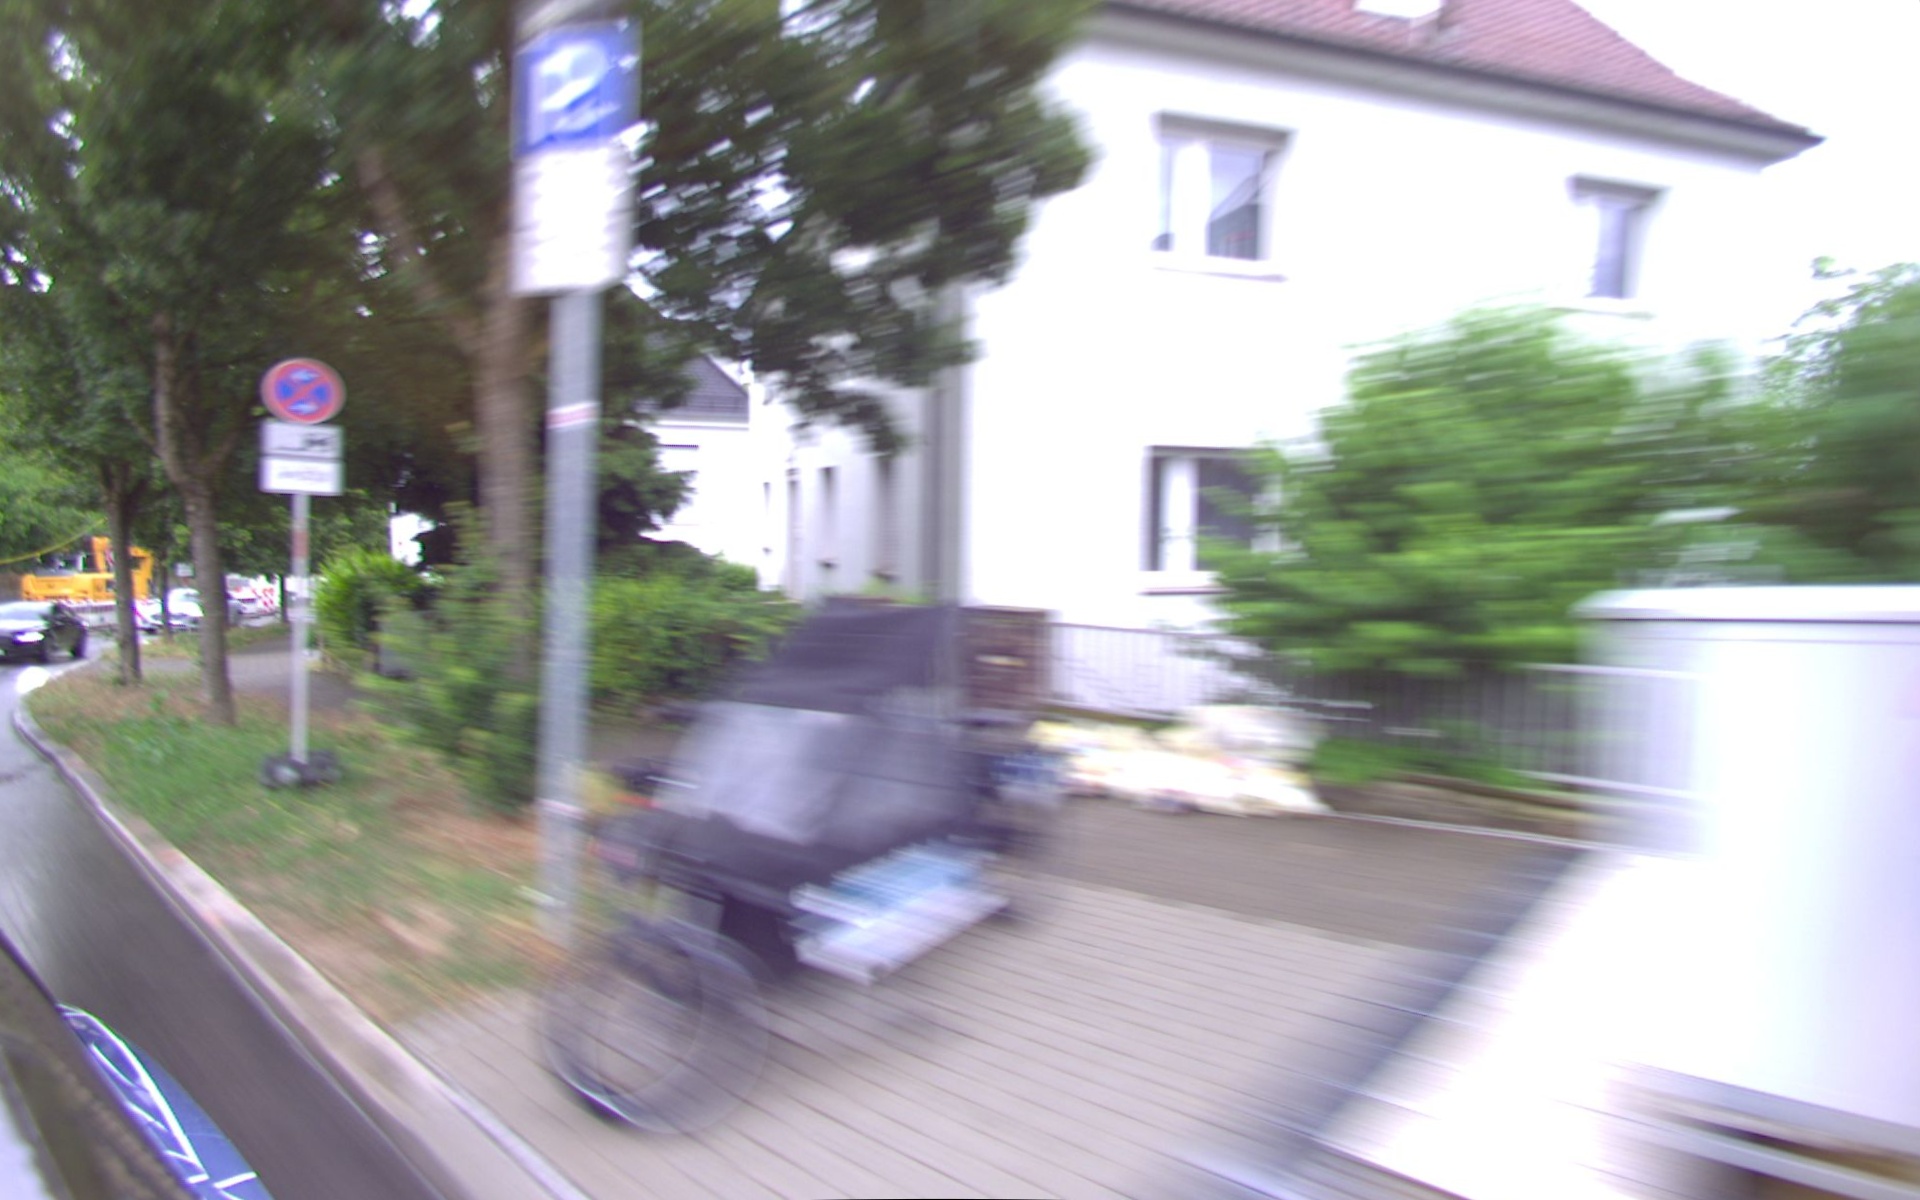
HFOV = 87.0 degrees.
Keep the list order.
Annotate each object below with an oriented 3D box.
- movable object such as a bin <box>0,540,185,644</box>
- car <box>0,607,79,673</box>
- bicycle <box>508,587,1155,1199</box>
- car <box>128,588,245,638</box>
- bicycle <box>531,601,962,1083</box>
[{"bbox_3d":[-35.554,-0.365,41.504,3.276,3.868,7.223,-1,1,-13],"label":"movable object such as a bin"},{"bbox_3d":[-22.872,0.922,24.451,1.813,1.413,4.082,-1,1,-33],"label":"car"},{"bbox_3d":[-0.201,0.650,3.280,0.807,1.372,2.210,0,0,35],"label":"bicycle"},{"bbox_3d":[-29.198,0.438,38.406,1.967,1.722,4.588,-1,1,-16],"label":"car"},{"bbox_3d":[-0.685,0.729,3.808,0.418,1.355,1.676,-3,1,36],"label":"bicycle"}]
